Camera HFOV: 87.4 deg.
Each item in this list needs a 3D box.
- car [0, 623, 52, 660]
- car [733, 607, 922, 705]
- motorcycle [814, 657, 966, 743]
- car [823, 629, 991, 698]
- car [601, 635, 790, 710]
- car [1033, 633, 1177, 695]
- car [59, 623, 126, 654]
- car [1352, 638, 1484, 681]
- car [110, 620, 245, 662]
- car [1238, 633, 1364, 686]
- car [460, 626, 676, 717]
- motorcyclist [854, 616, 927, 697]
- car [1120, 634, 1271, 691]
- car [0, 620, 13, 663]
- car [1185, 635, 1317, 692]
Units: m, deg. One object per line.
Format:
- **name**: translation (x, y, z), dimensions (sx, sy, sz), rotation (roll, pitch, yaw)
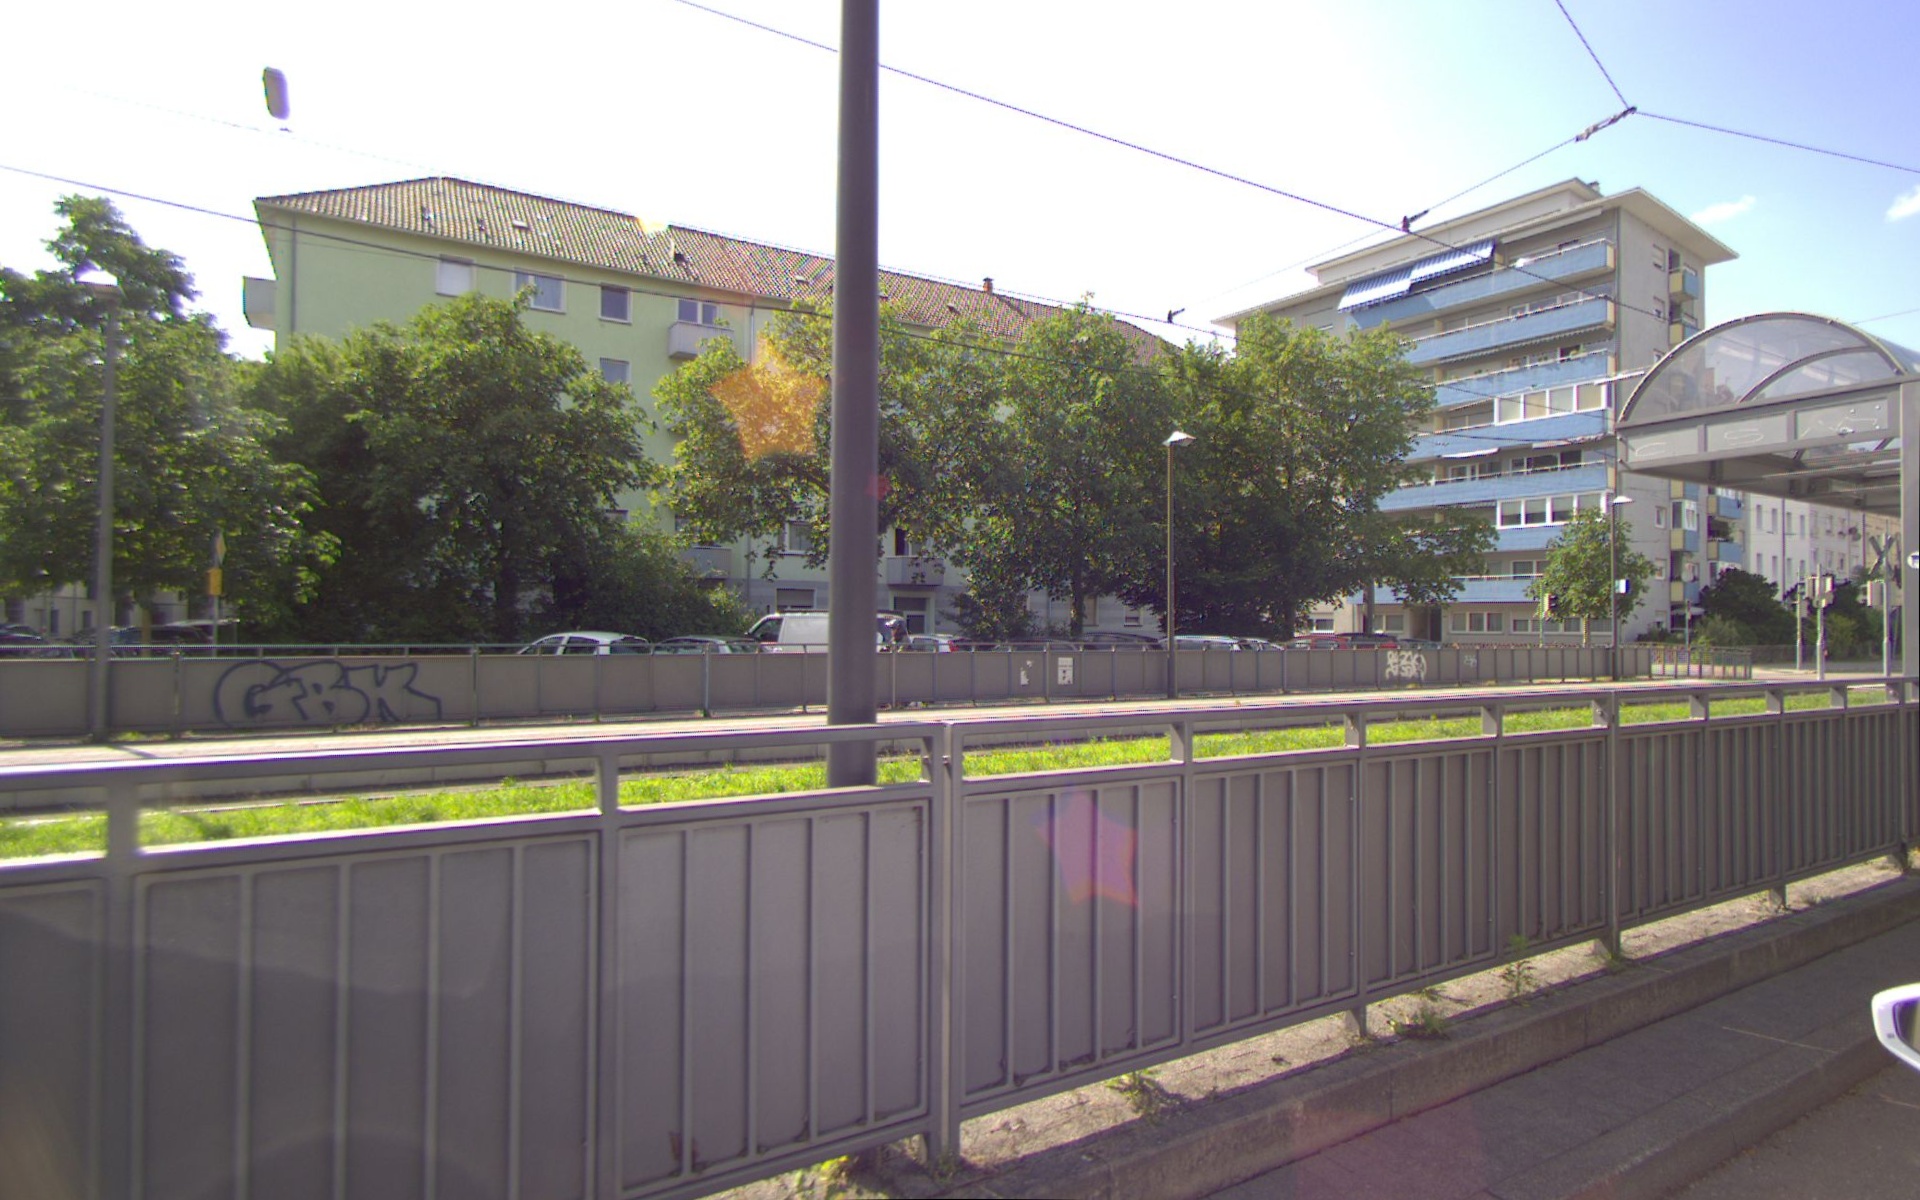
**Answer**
- **car**: translation (-44.136, 1.940, 46.668), dimensions (1.800, 1.623, 3.974), rotation (2, -3, -27)
- **car**: translation (-3.065, 1.235, 23.242), dimensions (3.880, 2.097, 2.047), rotation (-1, -2, 29)
- **motorcycle**: translation (-1.205, 1.704, 17.515), dimensions (2.488, 1.357, 1.010), rotation (1, -2, -31)
- **car**: translation (-1.337, 1.539, 25.178), dimensions (3.879, 1.600, 1.717), rotation (-1, -2, 28)
- **car**: translation (-5.830, 1.526, 22.062), dimensions (3.926, 1.505, 1.608), rotation (-1, -2, 26)
- **car**: translation (3.993, 1.717, 27.705), dimensions (3.601, 1.600, 1.646), rotation (-1, -2, 29)
- **car**: translation (-48.127, 2.142, 55.813), dimensions (1.799, 1.648, 3.975), rotation (2, -3, -25)
- **car**: translation (15.757, 2.036, 34.794), dimensions (4.054, 1.412, 1.609), rotation (0, -2, 21)
- **car**: translation (-32.257, 1.689, 41.534), dimensions (1.837, 1.639, 3.998), rotation (-1, -2, 23)
- **car**: translation (10.882, 1.857, 32.065), dimensions (3.601, 1.600, 1.646), rotation (-1, -2, 29)
- **car**: translation (-7.966, 1.375, 20.436), dimensions (3.923, 1.662, 1.826), rotation (-1, 0, 23)
- **motorcyclist**: translation (-1.221, 0.969, 17.569), dimensions (0.975, 1.357, 0.934), rotation (1, -2, -30)
- **car**: translation (6.795, 1.773, 29.093), dimensions (3.956, 1.534, 1.606), rotation (-1, -2, 30)
- **car**: translation (-41.811, 1.713, 42.185), dimensions (1.800, 1.855, 3.974), rotation (2, -3, -27)
- **car**: translation (8.871, 1.894, 30.640), dimensions (3.601, 1.600, 1.646), rotation (-1, -2, 29)
